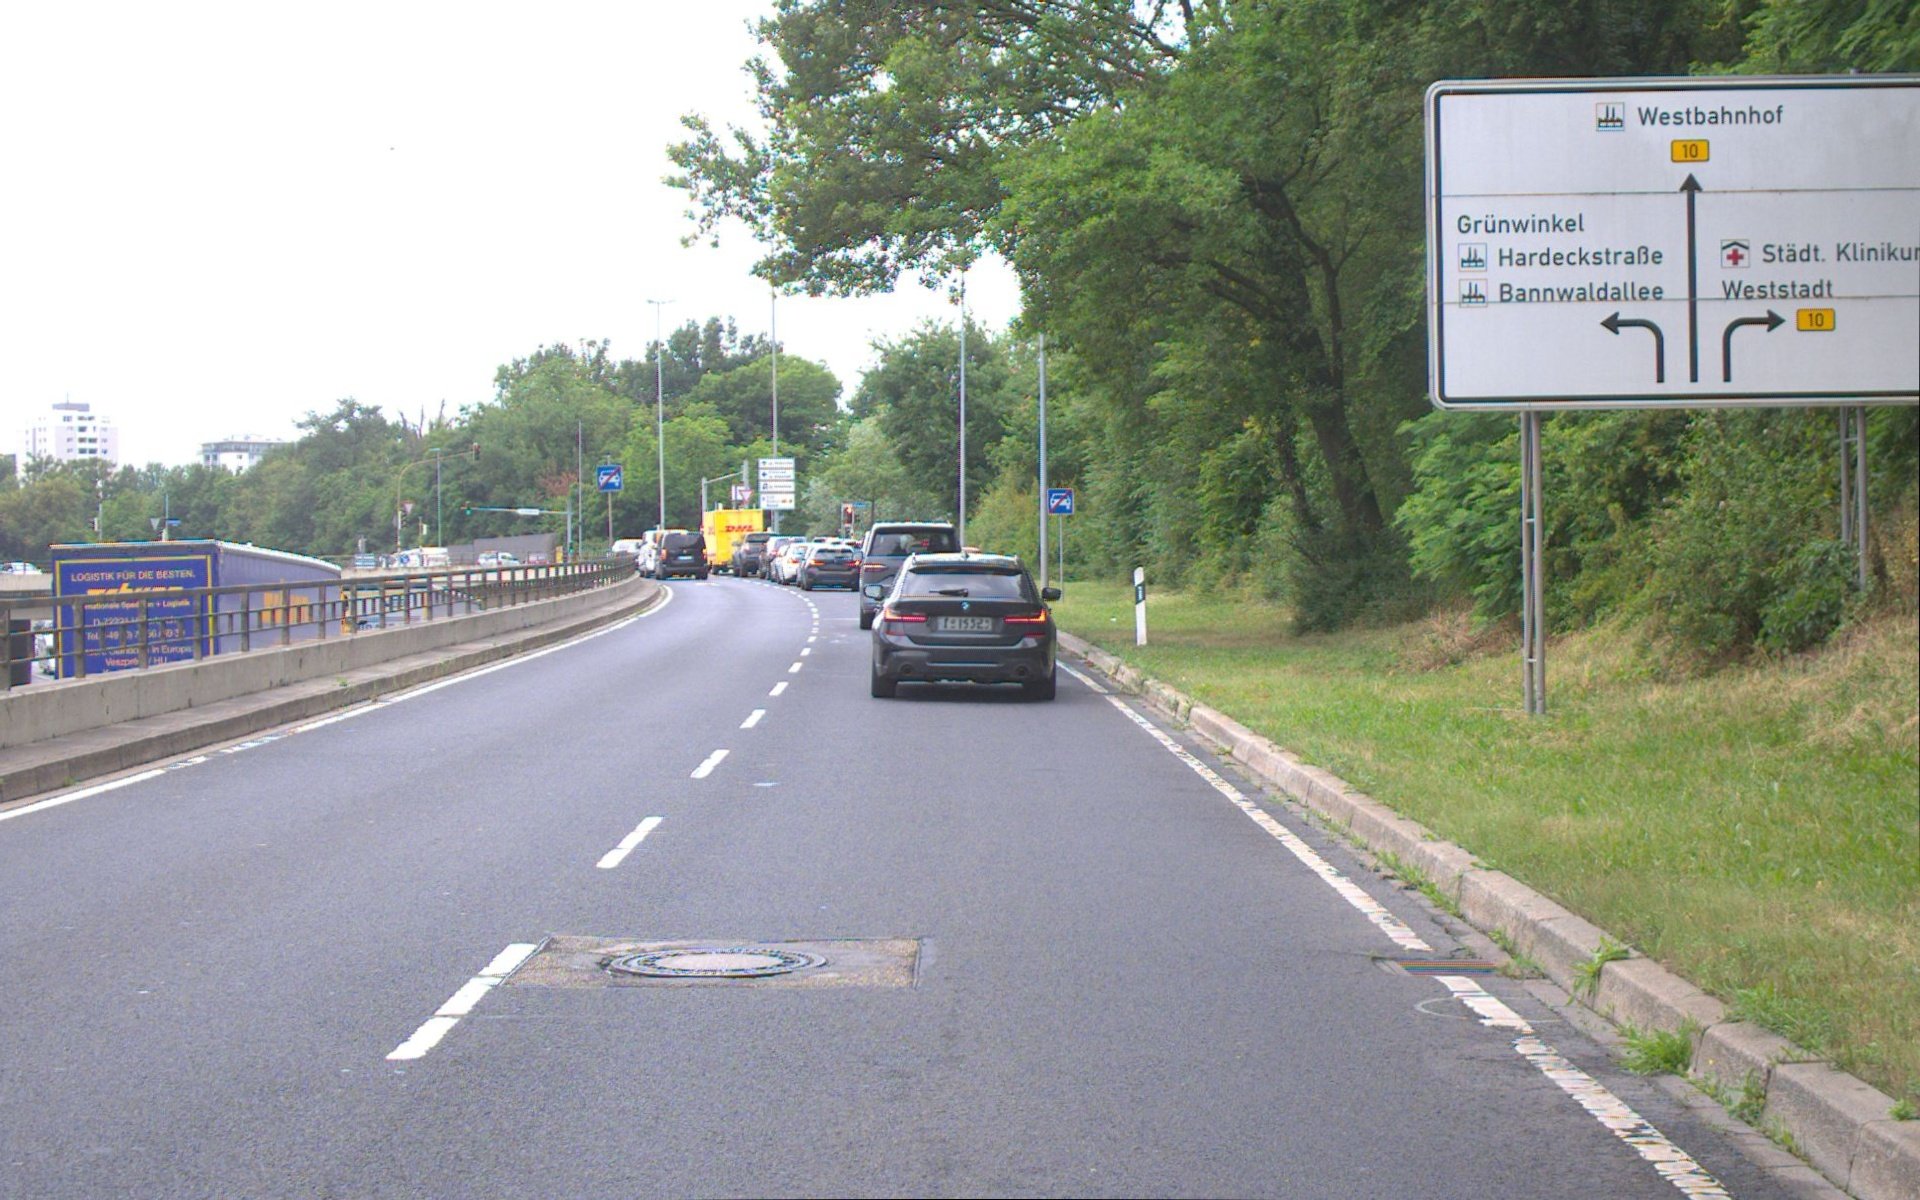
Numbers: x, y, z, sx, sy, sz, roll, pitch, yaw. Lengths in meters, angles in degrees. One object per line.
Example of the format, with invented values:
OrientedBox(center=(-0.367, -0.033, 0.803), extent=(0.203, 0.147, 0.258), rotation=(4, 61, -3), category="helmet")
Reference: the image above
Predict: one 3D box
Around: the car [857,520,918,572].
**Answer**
OrientedBox(center=(-2.746, -2.028, 129.653), extent=(1.884, 1.873, 4.431), rotation=(1, 1, -6), category="car")

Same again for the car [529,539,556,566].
OrientedBox(center=(-26.926, -3.083, 221.672), extent=(1.623, 1.696, 4.297), rotation=(1, 1, -8), category="car")

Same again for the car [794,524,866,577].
OrientedBox(center=(-4.039, -1.523, 106.393), extent=(1.884, 1.587, 4.431), rotation=(1, 1, -6), category="car")

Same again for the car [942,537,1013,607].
OrientedBox(center=(0.464, -0.785, 96.145), extent=(1.899, 1.878, 4.415), rotation=(1, 1, 0), category="car")

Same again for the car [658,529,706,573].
OrientedBox(center=(-11.159, -1.956, 137.770), extent=(1.623, 1.696, 4.297), rotation=(1, 1, -8), category="car")

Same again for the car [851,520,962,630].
OrientedBox(center=(-0.943, -0.458, 62.071), extent=(1.899, 1.878, 4.415), rotation=(1, 1, 0), category="car")

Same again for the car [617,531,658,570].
OrientedBox(center=(-14.329, -2.203, 152.595), extent=(1.623, 1.696, 4.297), rotation=(1, 1, -8), category="car")

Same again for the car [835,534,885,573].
OrientedBox(center=(-4.040, -1.862, 139.040), extent=(1.884, 1.540, 4.001), rotation=(1, 1, -3), category="car")

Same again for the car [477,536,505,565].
OrientedBox(center=(-27.712, -2.905, 203.072), extent=(1.623, 1.696, 4.297), rotation=(1, 1, -8), category="car")

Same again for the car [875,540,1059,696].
OrientedBox(center=(0.018, 0.133, 34.961), extent=(1.748, 1.421, 4.462), rotation=(0, 2, -1), category="car")

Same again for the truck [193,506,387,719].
OrientedBox(center=(-13.368, 0.219, 69.044), extent=(2.850, 4.023, 6.097), rotation=(-1, 0, -2), category="truck")

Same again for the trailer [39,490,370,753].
OrientedBox(center=(-13.071, 0.273, 61.217), extent=(2.851, 4.023, 16.007), rotation=(-1, 0, -2), category="trailer")

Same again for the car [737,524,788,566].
OrientedBox(center=(-8.231, -2.293, 142.820), extent=(1.884, 1.694, 4.431), rotation=(1, 1, -6), category="car")

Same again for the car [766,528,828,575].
OrientedBox(center=(-5.735, -1.693, 120.736), extent=(1.884, 1.587, 4.431), rotation=(1, 1, -6), category="car")

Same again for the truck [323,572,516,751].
OrientedBox(center=(-13.297, 1.343, 86.042), extent=(2.850, 4.023, 15.579), rotation=(-1, 0, -2), category="truck")

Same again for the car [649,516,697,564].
OrientedBox(center=(-12.171, -2.522, 145.806), extent=(1.884, 1.980, 4.431), rotation=(1, 1, -6), category="car")
